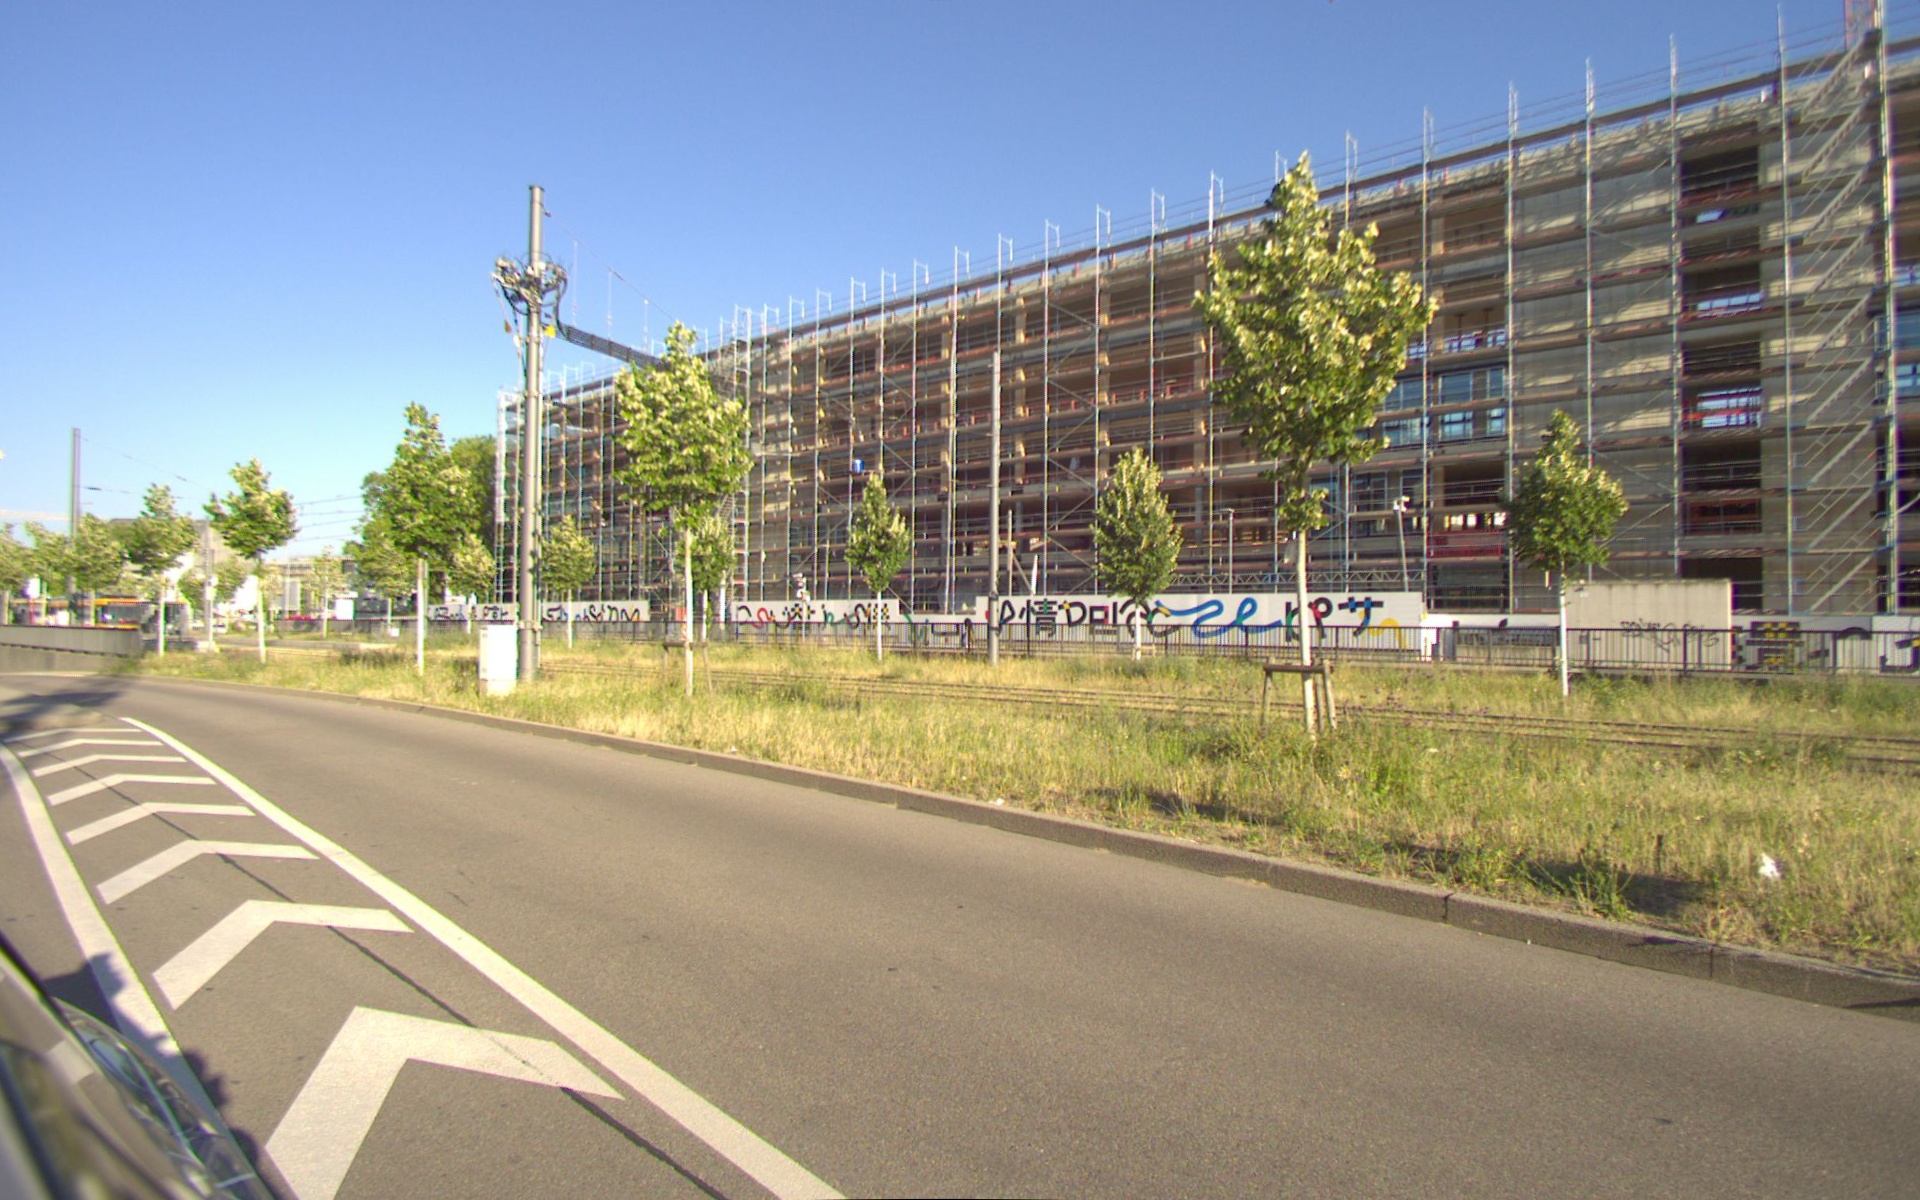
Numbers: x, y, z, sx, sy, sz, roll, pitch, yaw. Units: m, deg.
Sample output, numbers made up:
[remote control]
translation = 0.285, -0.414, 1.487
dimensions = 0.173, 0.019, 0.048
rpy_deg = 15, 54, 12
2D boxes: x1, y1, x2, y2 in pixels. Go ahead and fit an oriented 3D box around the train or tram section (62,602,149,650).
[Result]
[train or tram section]
translation = -66.079, 1.958, 78.097
dimensions = 12.620, 3.423, 2.917
rpy_deg = -1, 0, 39
